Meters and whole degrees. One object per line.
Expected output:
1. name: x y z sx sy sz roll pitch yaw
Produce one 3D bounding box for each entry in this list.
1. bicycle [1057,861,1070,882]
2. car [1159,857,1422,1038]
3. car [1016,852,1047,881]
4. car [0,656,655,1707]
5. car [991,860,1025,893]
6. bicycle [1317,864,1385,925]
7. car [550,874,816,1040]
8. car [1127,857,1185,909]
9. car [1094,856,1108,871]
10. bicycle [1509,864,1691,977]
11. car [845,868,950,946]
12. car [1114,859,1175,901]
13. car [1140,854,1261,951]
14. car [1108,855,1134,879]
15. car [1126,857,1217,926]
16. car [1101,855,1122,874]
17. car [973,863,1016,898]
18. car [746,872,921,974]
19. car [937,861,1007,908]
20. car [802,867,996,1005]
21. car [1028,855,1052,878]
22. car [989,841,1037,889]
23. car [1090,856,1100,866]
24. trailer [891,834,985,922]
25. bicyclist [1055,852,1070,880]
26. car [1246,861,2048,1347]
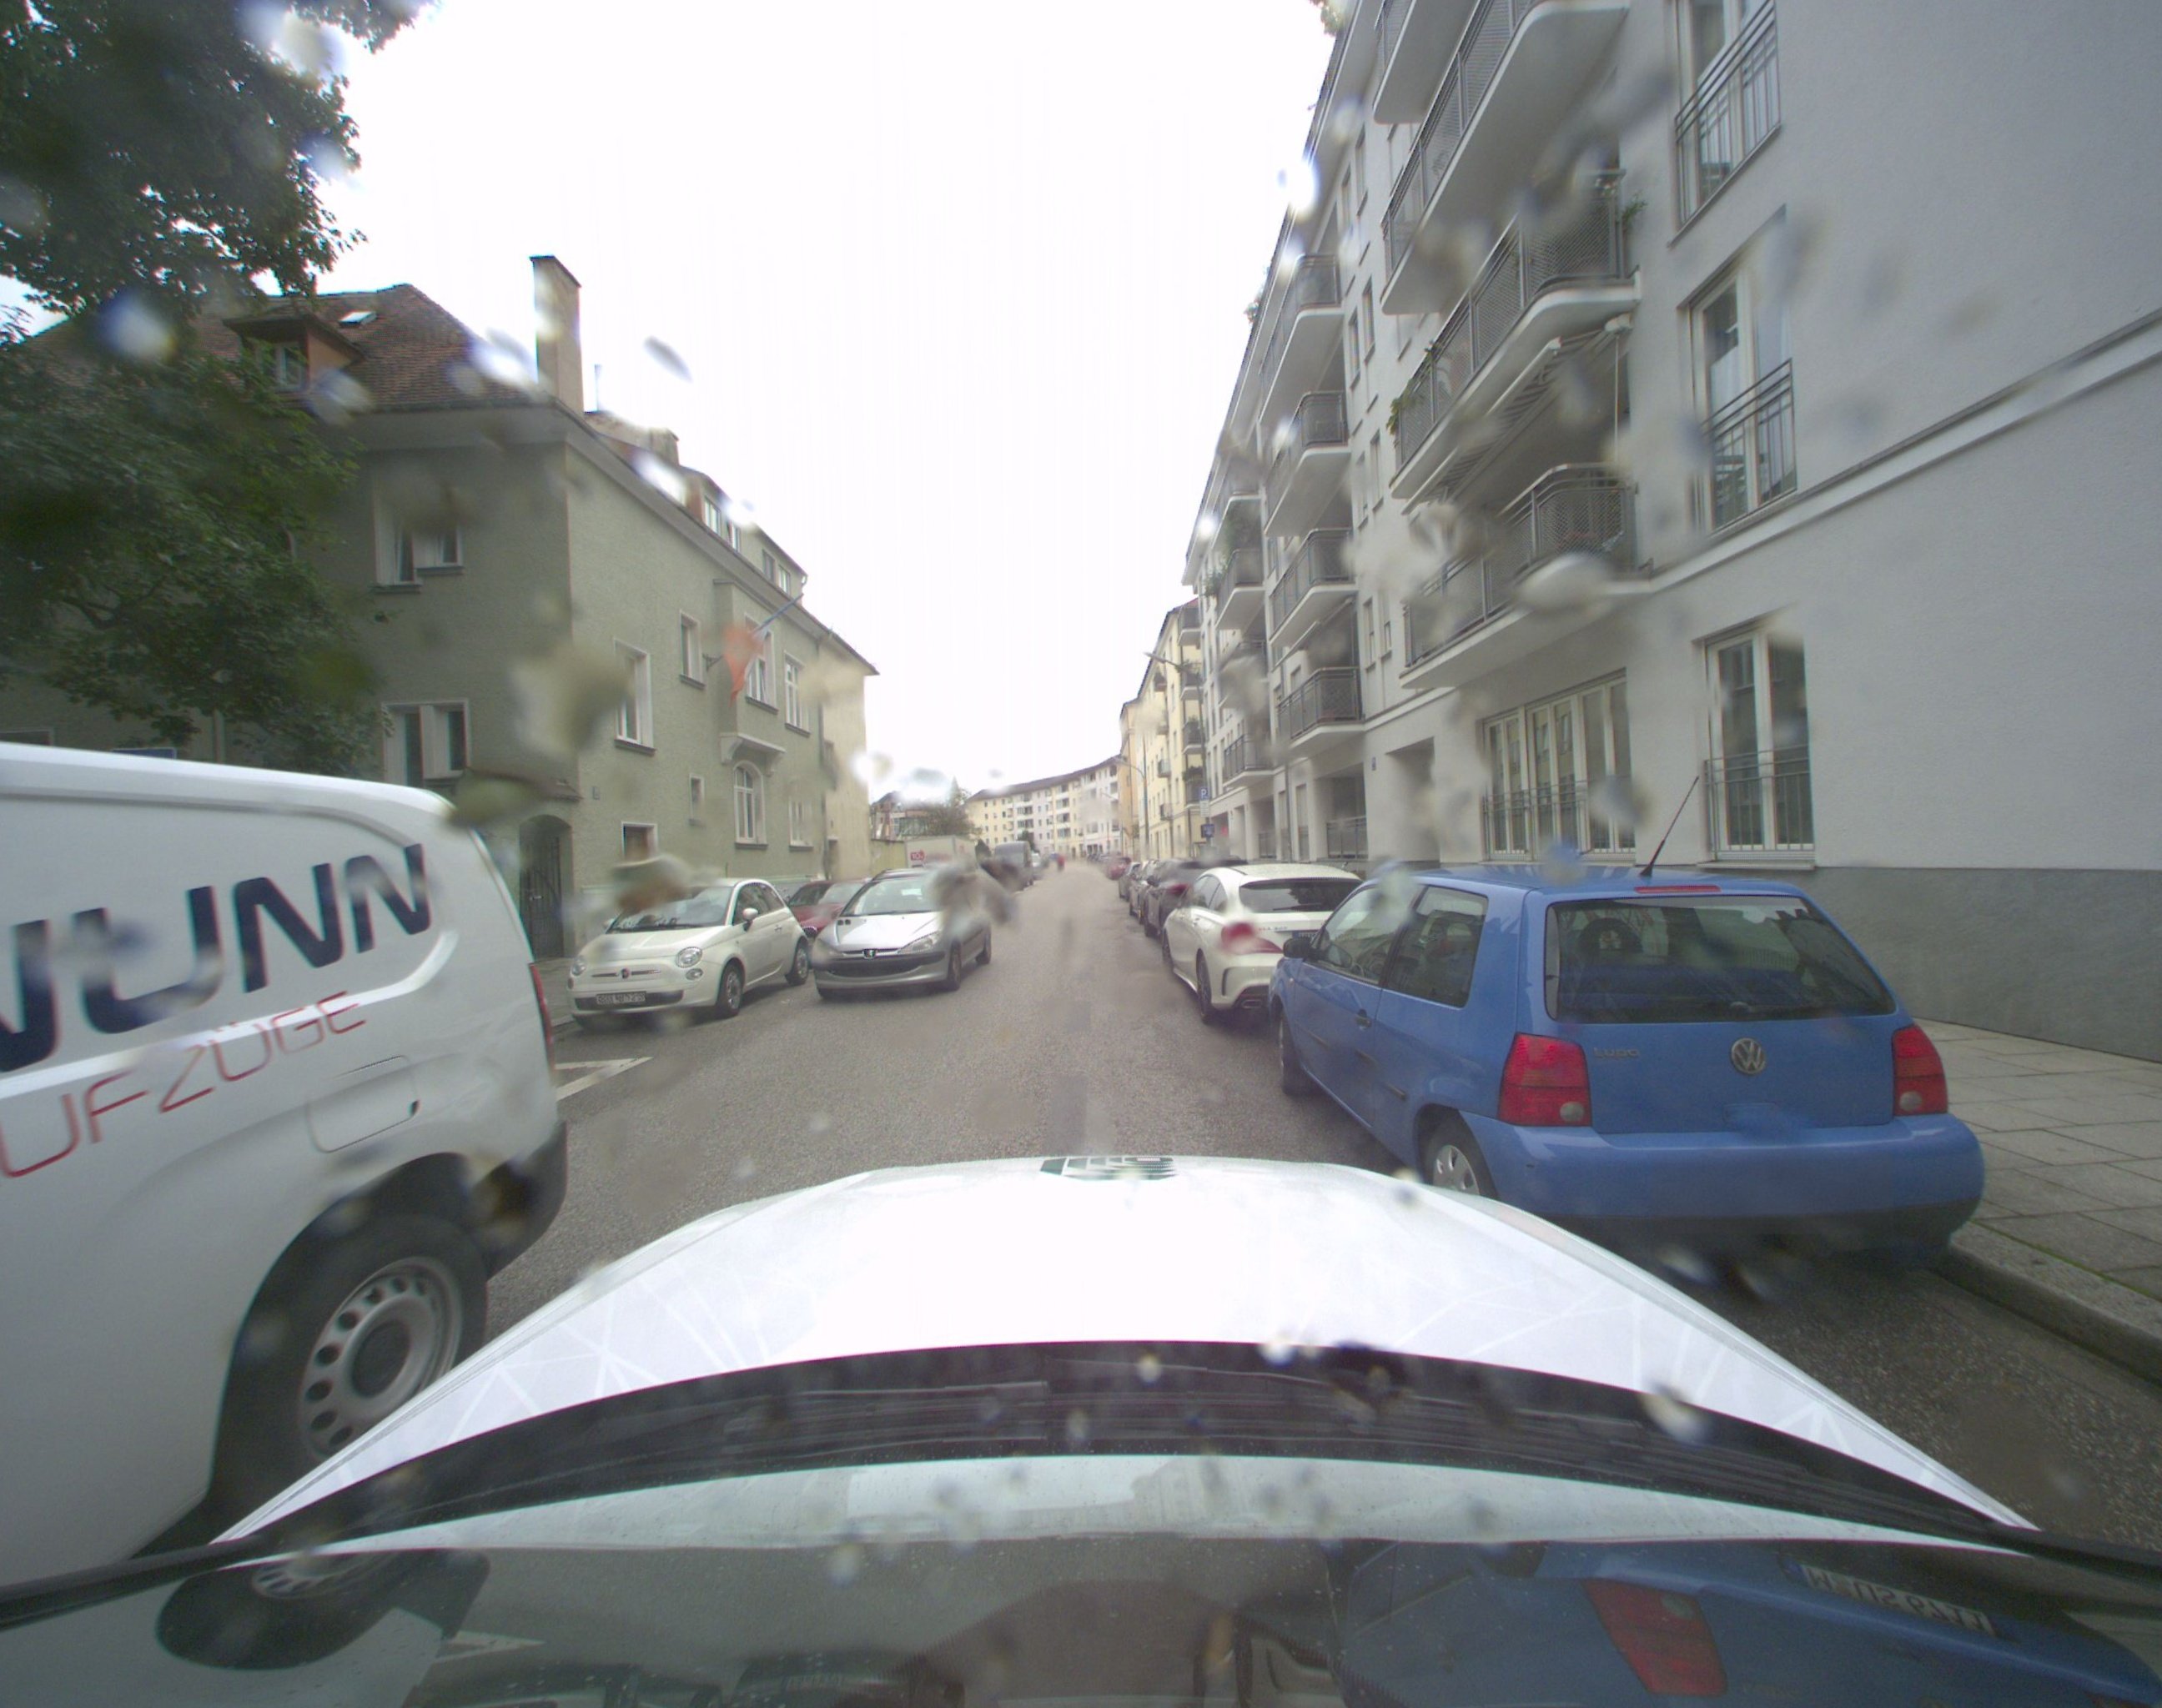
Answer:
1. bicycle: -0.997 0.992 46.812 0.502 1.128 1.774 -4 0 3
2. car: 1.869 0.751 8.589 1.653 1.440 4.205 0 0 -1
3. car: -3.675 0.868 60.907 1.876 1.931 4.601 -4 0 0
4. car: -2.612 0.621 0.832 1.765 1.803 4.573 -3 0 1
5. car: -3.777 1.133 42.802 1.582 1.538 3.539 -3 0 -4
6. bicycle: 5.623 0.803 17.100 0.625 1.160 2.126 -3 0 -2
7. car: -4.448 1.049 9.663 1.469 1.466 3.312 -4 0 -1
8. car: 2.366 0.885 26.260 1.514 1.530 3.525 -1 0 0
9. car: 2.383 1.144 99.128 1.470 1.641 3.999 -1 0 -1
10. bicycle: 5.355 0.654 8.561 0.675 1.028 1.834 -2 -2 0
11. car: -4.501 1.242 20.547 1.682 1.603 3.920 -4 0 -1
12. car: 2.300 0.932 30.399 1.759 1.408 4.075 -2 -1 -2
13. car: 2.037 0.780 14.892 1.599 1.530 3.982 0 0 -1
14. car: 2.634 0.825 54.380 1.590 1.509 3.801 -3 0 1
15. car: 2.158 0.843 20.529 1.729 1.530 4.619 0 0 -1
16. car: 2.600 0.902 70.078 1.594 1.491 3.798 -2 0 -1
17. car: -4.002 1.195 38.057 1.696 1.445 3.822 -2 0 -2
18. car: -4.299 1.128 14.918 1.855 1.412 4.331 -4 -1 -1
19. car: -4.156 1.132 31.788 1.759 1.538 4.544 -4 -1 3
20. car: -2.177 0.917 10.682 1.575 1.411 3.613 -3 -1 1
21. car: -3.380 0.994 67.908 1.697 1.691 4.026 -4 0 -1
22. car: -3.943 0.593 48.198 2.080 2.636 5.379 -3 0 2
23. car: 1.854 1.009 110.987 1.268 1.299 2.796 -2 0 -1
24. trailer: -4.407 0.689 25.834 1.701 2.461 4.392 -4 0 4
25. bicyclist: -1.047 0.686 46.726 0.691 1.561 0.967 -4 0 3
26. car: 2.052 0.750 4.195 1.614 1.412 3.551 0 -1 -1
